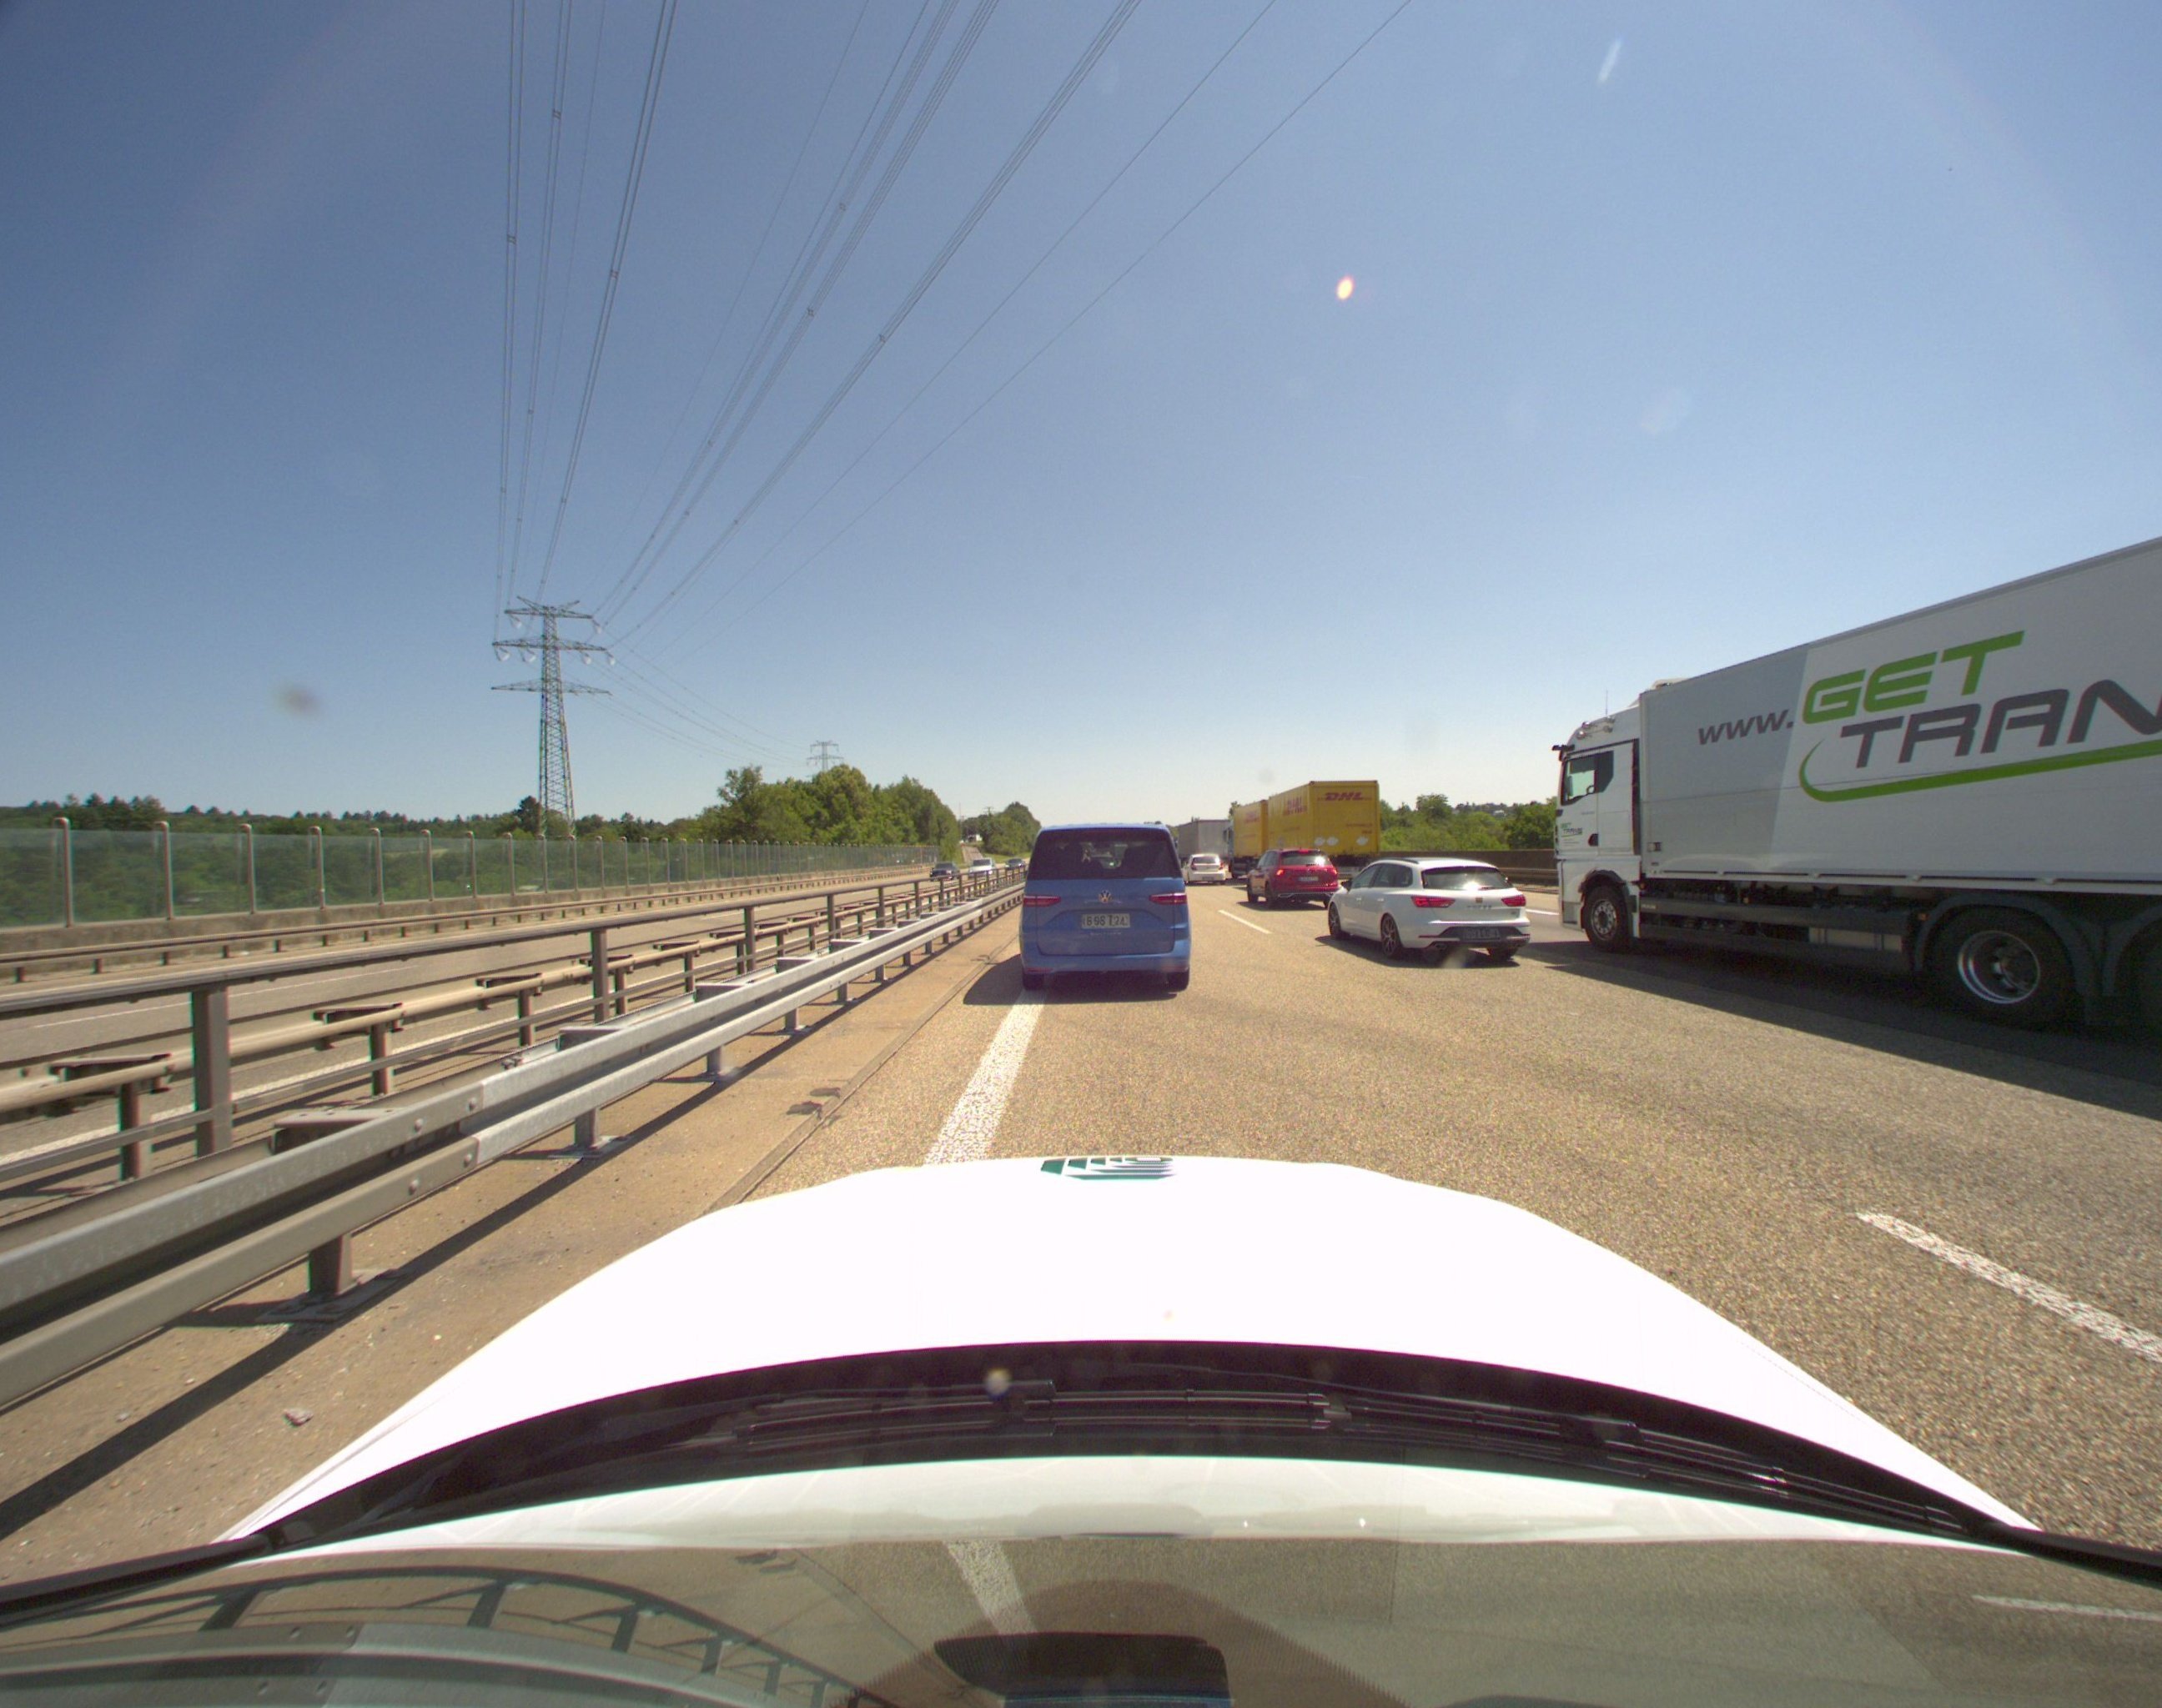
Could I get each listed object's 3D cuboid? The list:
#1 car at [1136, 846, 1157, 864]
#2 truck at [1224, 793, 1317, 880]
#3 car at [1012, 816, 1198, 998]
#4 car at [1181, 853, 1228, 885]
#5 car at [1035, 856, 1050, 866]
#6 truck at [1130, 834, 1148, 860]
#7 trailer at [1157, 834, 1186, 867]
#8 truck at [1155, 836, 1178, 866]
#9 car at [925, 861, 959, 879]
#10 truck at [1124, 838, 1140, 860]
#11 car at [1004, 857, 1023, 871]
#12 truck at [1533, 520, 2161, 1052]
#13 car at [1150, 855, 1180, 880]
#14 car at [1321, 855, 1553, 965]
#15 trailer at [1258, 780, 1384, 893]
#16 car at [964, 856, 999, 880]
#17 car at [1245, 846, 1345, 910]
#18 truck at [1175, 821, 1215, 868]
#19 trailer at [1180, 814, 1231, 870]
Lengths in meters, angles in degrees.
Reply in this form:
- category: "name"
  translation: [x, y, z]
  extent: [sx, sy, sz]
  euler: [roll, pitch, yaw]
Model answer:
- category: "car"
  translation: [6.238, 0.076, 77.329]
  extent: [1.709, 1.540, 3.822]
  euler: [-3, 0, 1]
- category: "truck"
  translation: [9.771, -0.786, 43.293]
  extent: [2.712, 4.054, 10.337]
  euler: [0, -1, 1]
- category: "car"
  translation: [0.301, 0.545, 10.378]
  extent: [1.875, 1.837, 4.001]
  euler: [-1, 0, 1]
- category: "car"
  translation: [5.960, 0.704, 39.700]
  extent: [1.831, 1.414, 4.002]
  euler: [-1, 0, 2]
- category: "car"
  translation: [-5.542, 1.048, 118.010]
  extent: [1.835, 1.446, 4.420]
  euler: [0, -1, 1]
- category: "truck"
  translation: [11.634, -1.290, 164.440]
  extent: [2.824, 5.040, 11.143]
  euler: [0, -1, 0]
- category: "trailer"
  translation: [10.713, -0.360, 97.347]
  extent: [2.371, 3.744, 11.189]
  euler: [0, -1, 1]
- category: "truck"
  translation: [10.792, -0.307, 102.971]
  extent: [2.359, 3.722, 6.034]
  euler: [0, -1, 1]
- category: "car"
  translation: [-10.834, 1.250, 63.865]
  extent: [1.794, 1.386, 4.264]
  euler: [0, -1, 1]
- category: "truck"
  translation: [11.684, -1.055, 188.049]
  extent: [2.824, 5.040, 11.814]
  euler: [0, -1, 0]
- category: "car"
  translation: [-7.040, 1.048, 85.103]
  extent: [1.577, 1.298, 3.892]
  euler: [-3, 0, 1]
- category: "truck"
  translation: [8.777, -0.444, 7.966]
  extent: [2.841, 3.603, 10.769]
  euler: [0, -1, 1]
- category: "car"
  translation: [5.690, 0.926, 55.285]
  extent: [1.709, 1.587, 3.822]
  euler: [-1, -1, 1]
- category: "car"
  translation: [5.181, 0.720, 12.536]
  extent: [1.775, 1.387, 4.188]
  euler: [-1, 0, 0]
- category: "trailer"
  translation: [9.583, -0.575, 33.634]
  extent: [2.692, 4.023, 8.931]
  euler: [0, -1, 1]
- category: "car"
  translation: [-6.974, 0.967, 57.394]
  extent: [1.834, 1.529, 3.559]
  euler: [-3, 0, 1]
- category: "car"
  translation: [5.903, 0.608, 22.928]
  extent: [1.844, 1.608, 4.001]
  euler: [-1, 0, 1]
- category: "truck"
  translation: [10.234, -0.781, 73.670]
  extent: [2.758, 4.095, 6.986]
  euler: [0, -1, 1]
- category: "trailer"
  translation: [10.064, -0.852, 66.925]
  extent: [2.745, 4.146, 11.314]
  euler: [0, -1, 1]
